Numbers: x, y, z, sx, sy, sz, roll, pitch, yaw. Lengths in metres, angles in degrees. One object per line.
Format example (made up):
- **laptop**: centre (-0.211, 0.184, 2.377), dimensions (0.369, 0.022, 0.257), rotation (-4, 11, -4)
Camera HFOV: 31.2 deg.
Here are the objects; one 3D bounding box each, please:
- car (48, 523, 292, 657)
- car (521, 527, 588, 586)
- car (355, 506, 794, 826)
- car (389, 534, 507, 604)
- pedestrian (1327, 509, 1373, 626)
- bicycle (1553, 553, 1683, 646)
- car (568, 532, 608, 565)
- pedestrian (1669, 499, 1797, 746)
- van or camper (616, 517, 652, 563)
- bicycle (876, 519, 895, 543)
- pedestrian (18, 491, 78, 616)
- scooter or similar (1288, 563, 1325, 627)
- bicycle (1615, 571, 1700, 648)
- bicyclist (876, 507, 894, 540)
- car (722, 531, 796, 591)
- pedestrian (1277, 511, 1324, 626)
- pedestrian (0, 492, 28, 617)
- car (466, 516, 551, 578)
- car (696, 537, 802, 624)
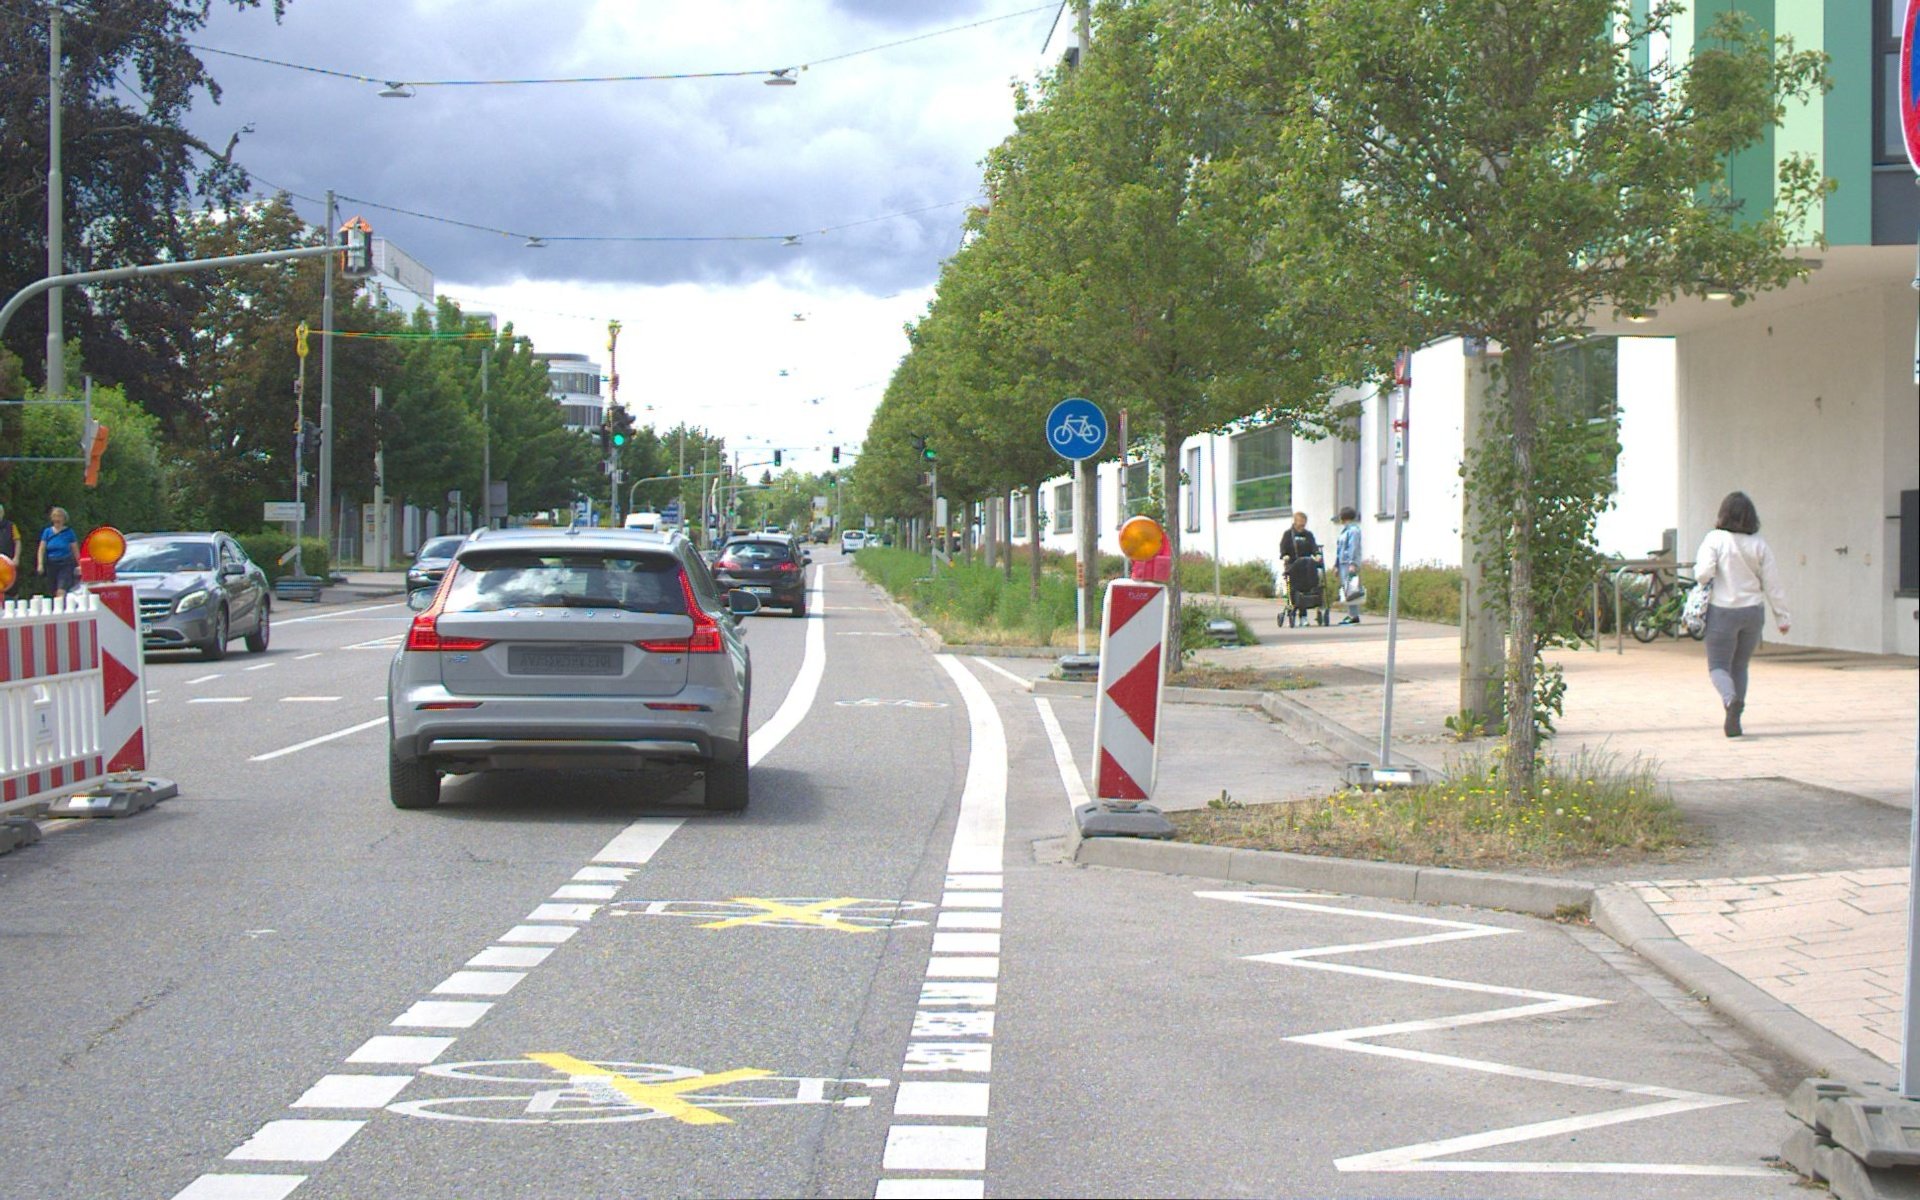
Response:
- **car**: centre (-9.295, -0.143, 40.738), dimensions (1.854, 1.508, 4.000), rotation (0, 1, 2)
- **car**: centre (-13.322, -1.447, 113.191), dimensions (1.841, 1.898, 4.686), rotation (0, 1, -3)
- **car**: centre (-1.994, 0.291, 18.889), dimensions (1.854, 1.508, 4.000), rotation (2, 1, 1)
- **car**: centre (-10.966, -0.673, 73.910), dimensions (1.993, 1.395, 4.811), rotation (-2, 1, -2)
- **pedestrian**: centre (5.541, -0.463, 48.822), dimensions (0.550, 1.649, 0.607), rotation (0, 1, -3)
- **bicycle**: centre (7.545, -0.014, 39.420), dimensions (1.464, 1.042, 0.307), rotation (-1, 1, -14)
- **car**: centre (-17.704, -2.460, 163.742), dimensions (1.661, 1.510, 4.001), rotation (0, 1, -3)
- **pedestrian**: centre (4.928, 0.135, 21.951), dimensions (0.581, 1.546, 0.869), rotation (0, 1, -2)
- **van or camper**: centre (-19.510, -3.575, 205.406), dimensions (1.993, 2.724, 6.054), rotation (-1, 1, -7)
- **bicycle**: centre (-4.546, -4.201, 209.728), dimensions (1.067, 1.448, 2.978), rotation (-1, 1, -3)
- **pedestrian**: centre (-13.596, -0.686, 51.259), dimensions (0.681, 1.848, 0.892), rotation (0, 0, -2)
- **scooter or similar**: centre (4.919, -0.070, 48.839), dimensions (0.421, 0.902, 0.682), rotation (0, 1, -3)
- **bicycle**: centre (7.781, 0.105, 38.350), dimensions (1.022, 0.839, 0.307), rotation (-1, 1, -35)
- **bicyclist**: centre (-4.567, -4.672, 209.795), dimensions (1.014, 2.007, 1.131), rotation (-1, 1, -3)
- **car**: centre (-5.223, -1.032, 89.660), dimensions (1.844, 1.508, 4.001), rotation (1, 1, -3)
- **pedestrian**: centre (4.888, -0.456, 49.372), dimensions (0.605, 1.649, 0.552), rotation (0, 1, -3)
- **pedestrian**: centre (-14.341, -0.678, 51.302), dimensions (0.681, 1.848, 0.707), rotation (0, 0, -2)
- **car**: centre (-11.490, -1.360, 87.776), dimensions (1.749, 1.550, 4.402), rotation (0, 1, -2)
- **car**: centre (-3.842, -0.382, 62.849), dimensions (1.854, 1.508, 4.001), rotation (1, 1, -3)
